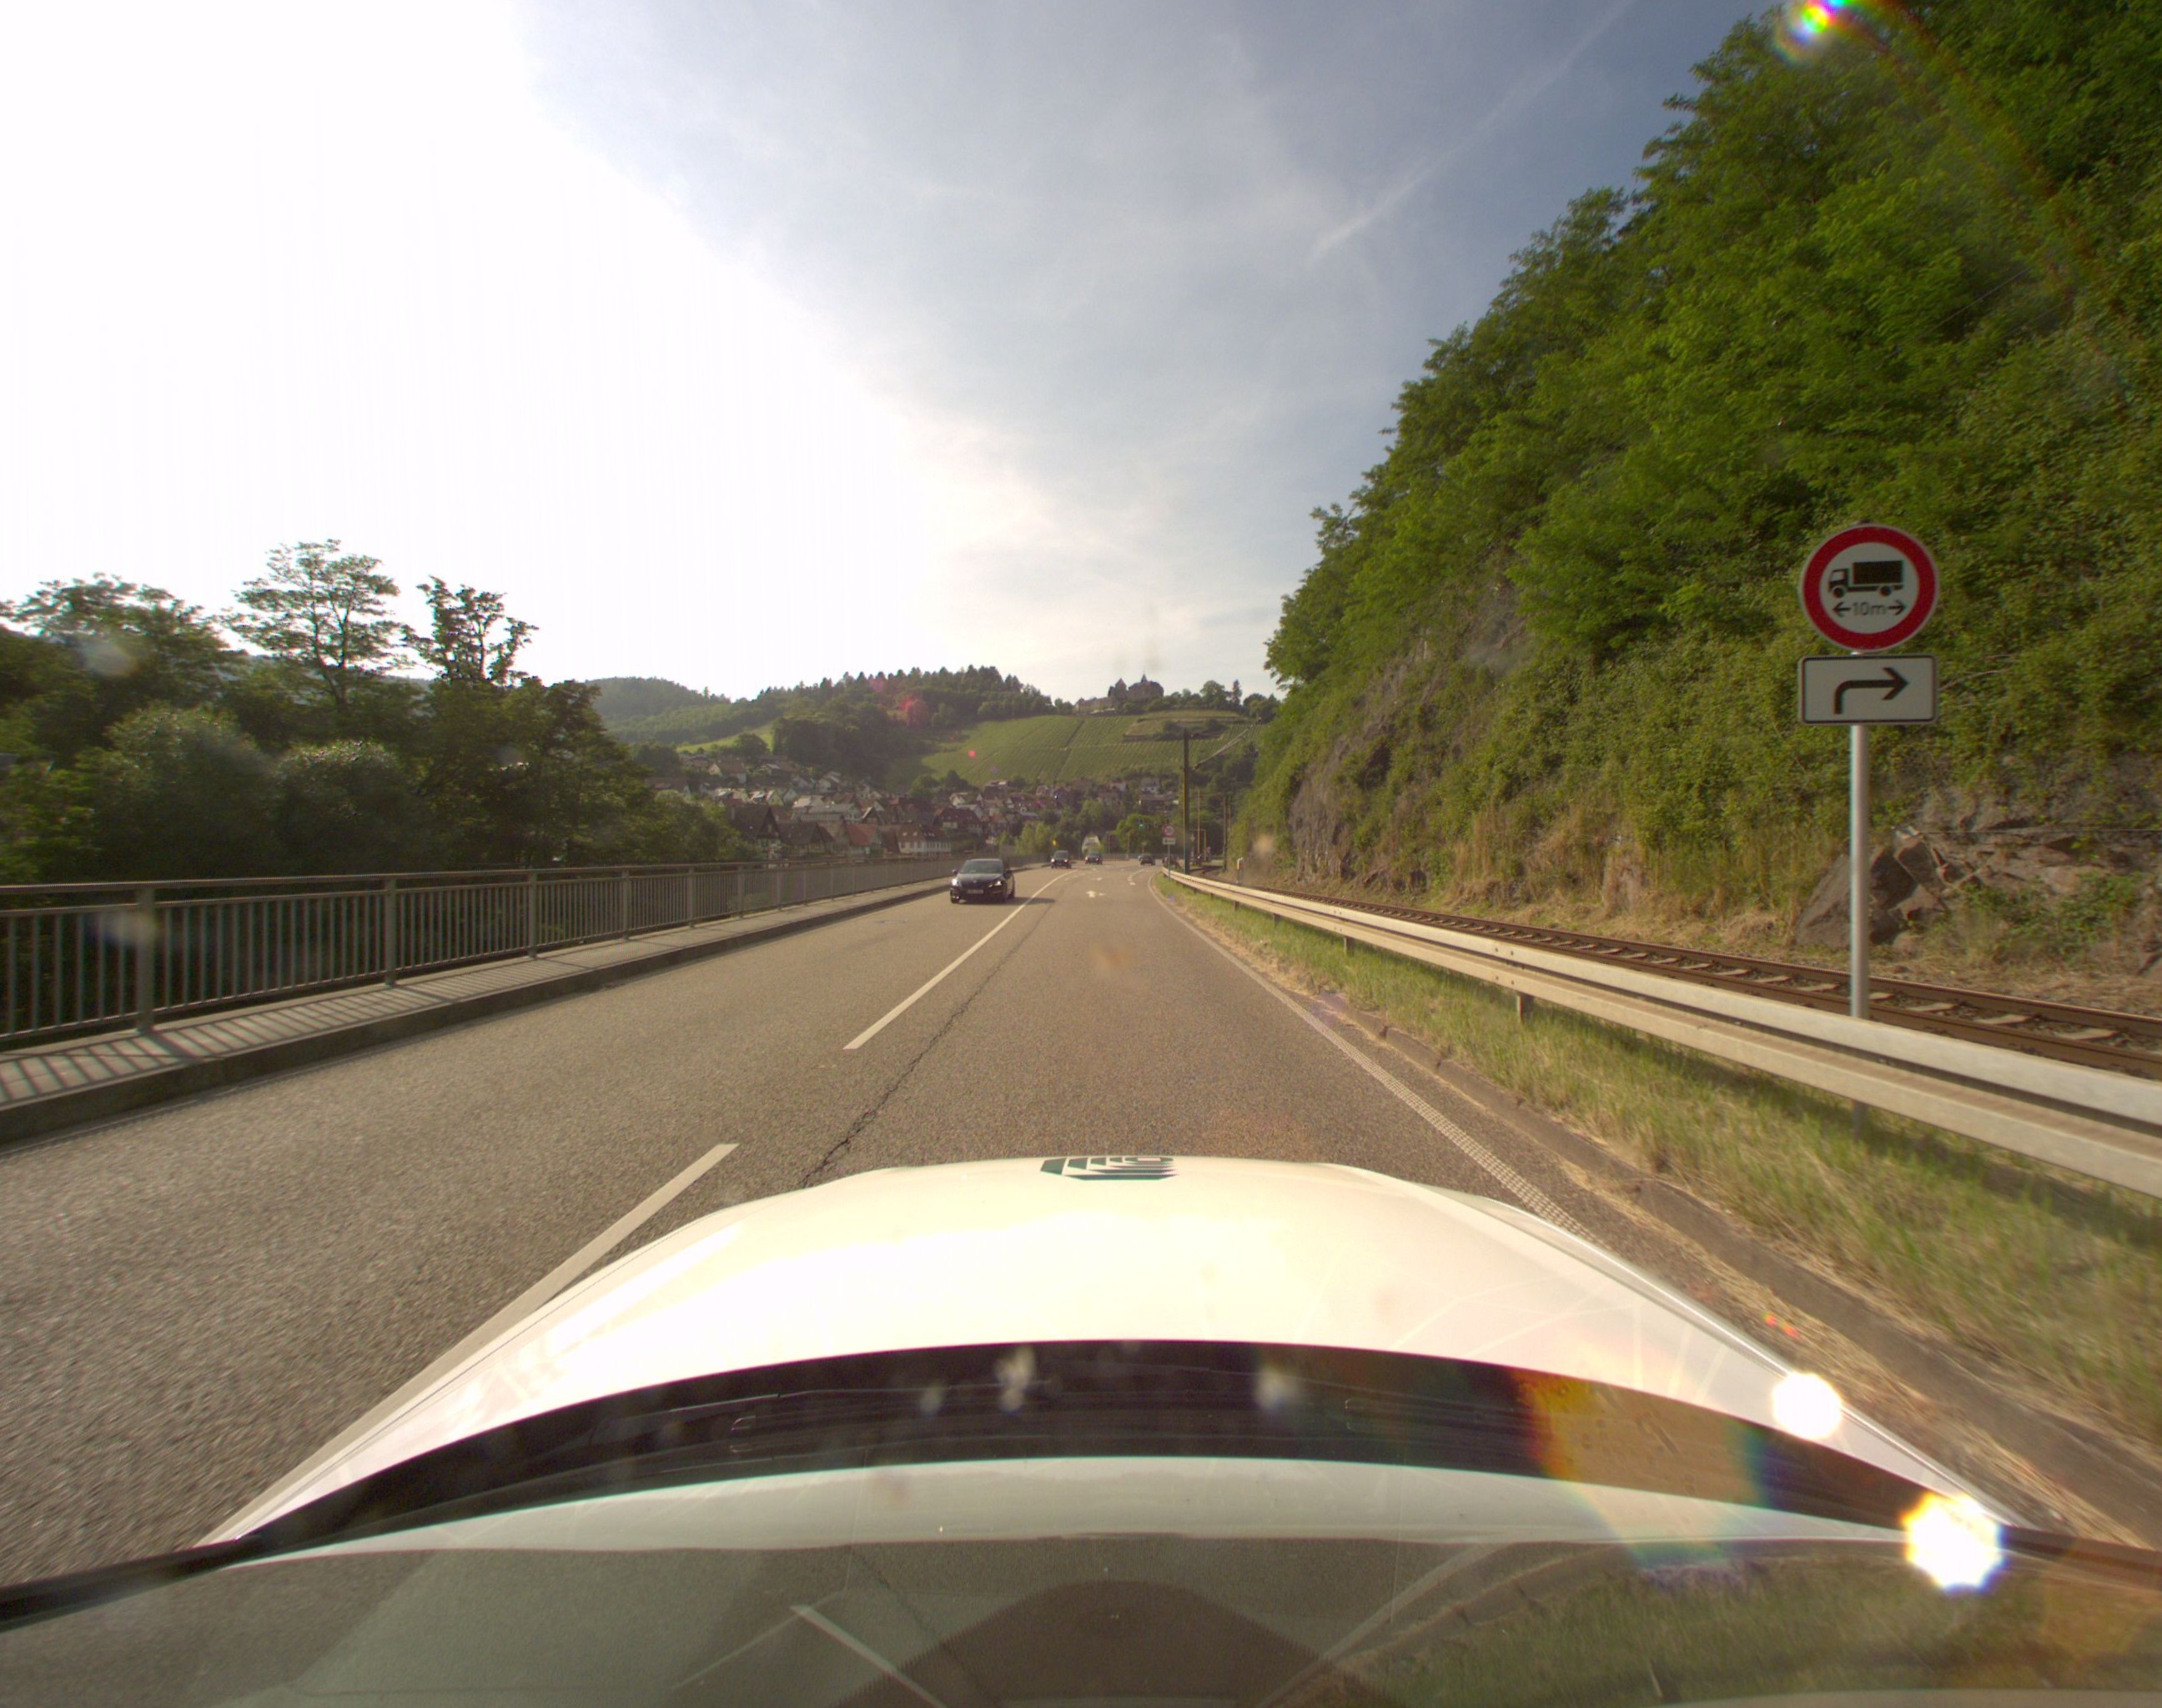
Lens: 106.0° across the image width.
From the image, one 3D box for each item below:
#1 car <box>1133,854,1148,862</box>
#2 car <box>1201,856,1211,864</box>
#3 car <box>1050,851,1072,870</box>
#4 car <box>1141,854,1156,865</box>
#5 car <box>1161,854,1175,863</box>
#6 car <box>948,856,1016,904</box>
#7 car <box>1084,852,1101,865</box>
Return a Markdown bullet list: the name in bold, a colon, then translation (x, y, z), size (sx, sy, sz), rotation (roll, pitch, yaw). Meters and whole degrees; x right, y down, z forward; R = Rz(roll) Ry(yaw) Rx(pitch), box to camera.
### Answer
- **car**: translation (10.981, 0.706, 150.284), size (1.768, 1.482, 4.545), rotation (1, 0, 16)
- **car**: translation (24.870, 1.185, 162.082), size (1.795, 1.453, 3.658), rotation (-1, -1, 11)
- **car**: translation (-1.973, 0.639, 82.086), size (1.784, 1.828, 4.833), rotation (0, 0, 4)
- **car**: translation (9.460, 0.829, 113.887), size (1.717, 1.457, 3.422), rotation (-1, -1, 12)
- **car**: translation (14.353, 0.733, 133.808), size (1.827, 1.459, 3.725), rotation (-1, -1, 12)
- **car**: translation (-3.228, 0.811, 27.355), size (1.715, 1.435, 4.339), rotation (-1, 0, 0)
- **car**: translation (1.589, 0.602, 110.577), size (1.807, 1.646, 4.622), rotation (0, 0, 8)
